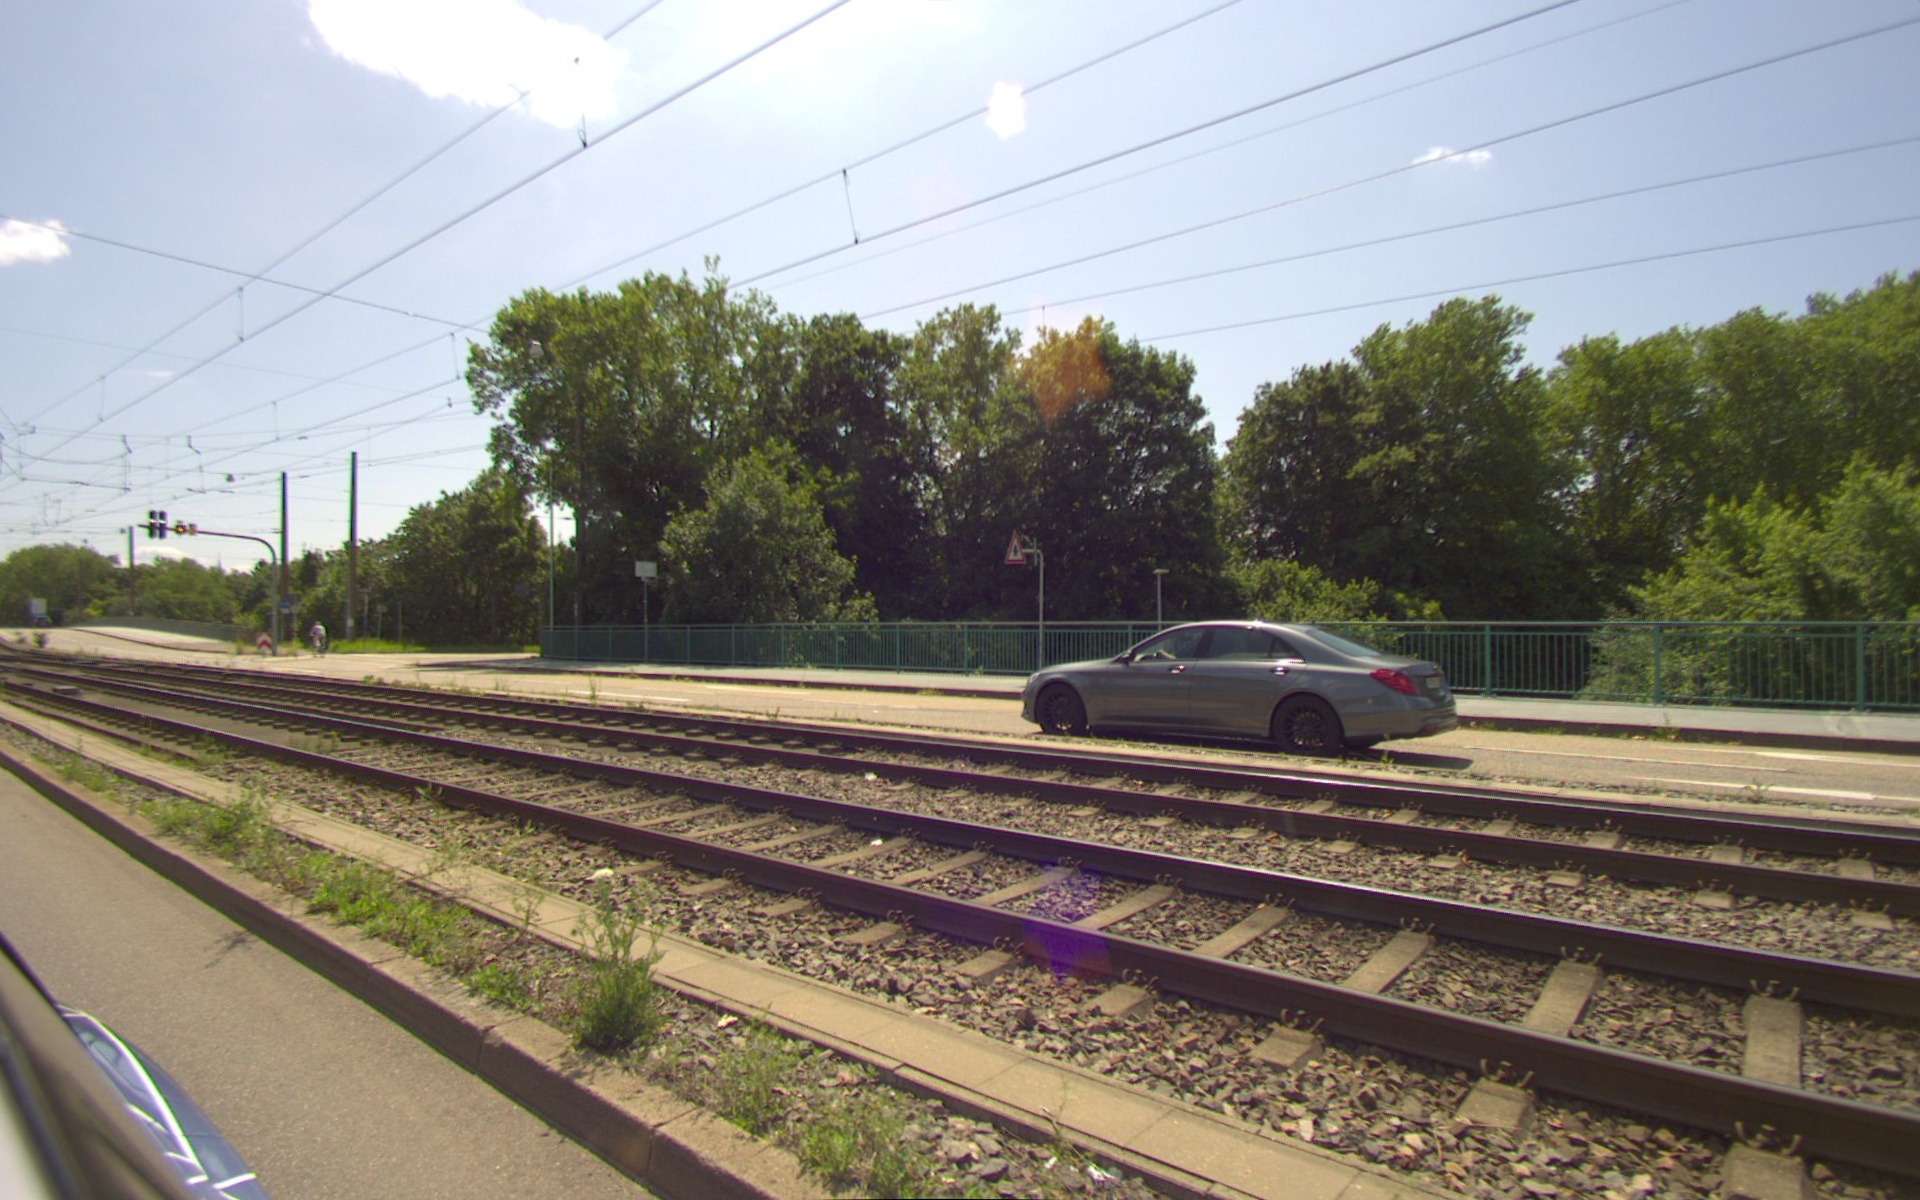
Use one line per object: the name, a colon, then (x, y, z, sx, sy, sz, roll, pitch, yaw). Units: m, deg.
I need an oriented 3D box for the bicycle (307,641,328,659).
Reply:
bicycle: (-31.951, 2.479, 50.344, 1.743, 0.875, 0.463, -1, -1, 43)

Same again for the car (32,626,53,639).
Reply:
car: (-110.577, 3.956, 121.925, 1.685, 1.522, 3.735, 2, -3, -45)

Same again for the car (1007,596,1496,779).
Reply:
car: (3.231, 0.891, 12.077, 5.326, 1.733, 1.856, -2, -1, 40)

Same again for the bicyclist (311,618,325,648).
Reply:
bicyclist: (-31.960, 1.638, 50.360, 0.633, 1.485, 0.451, -2, -2, 43)
